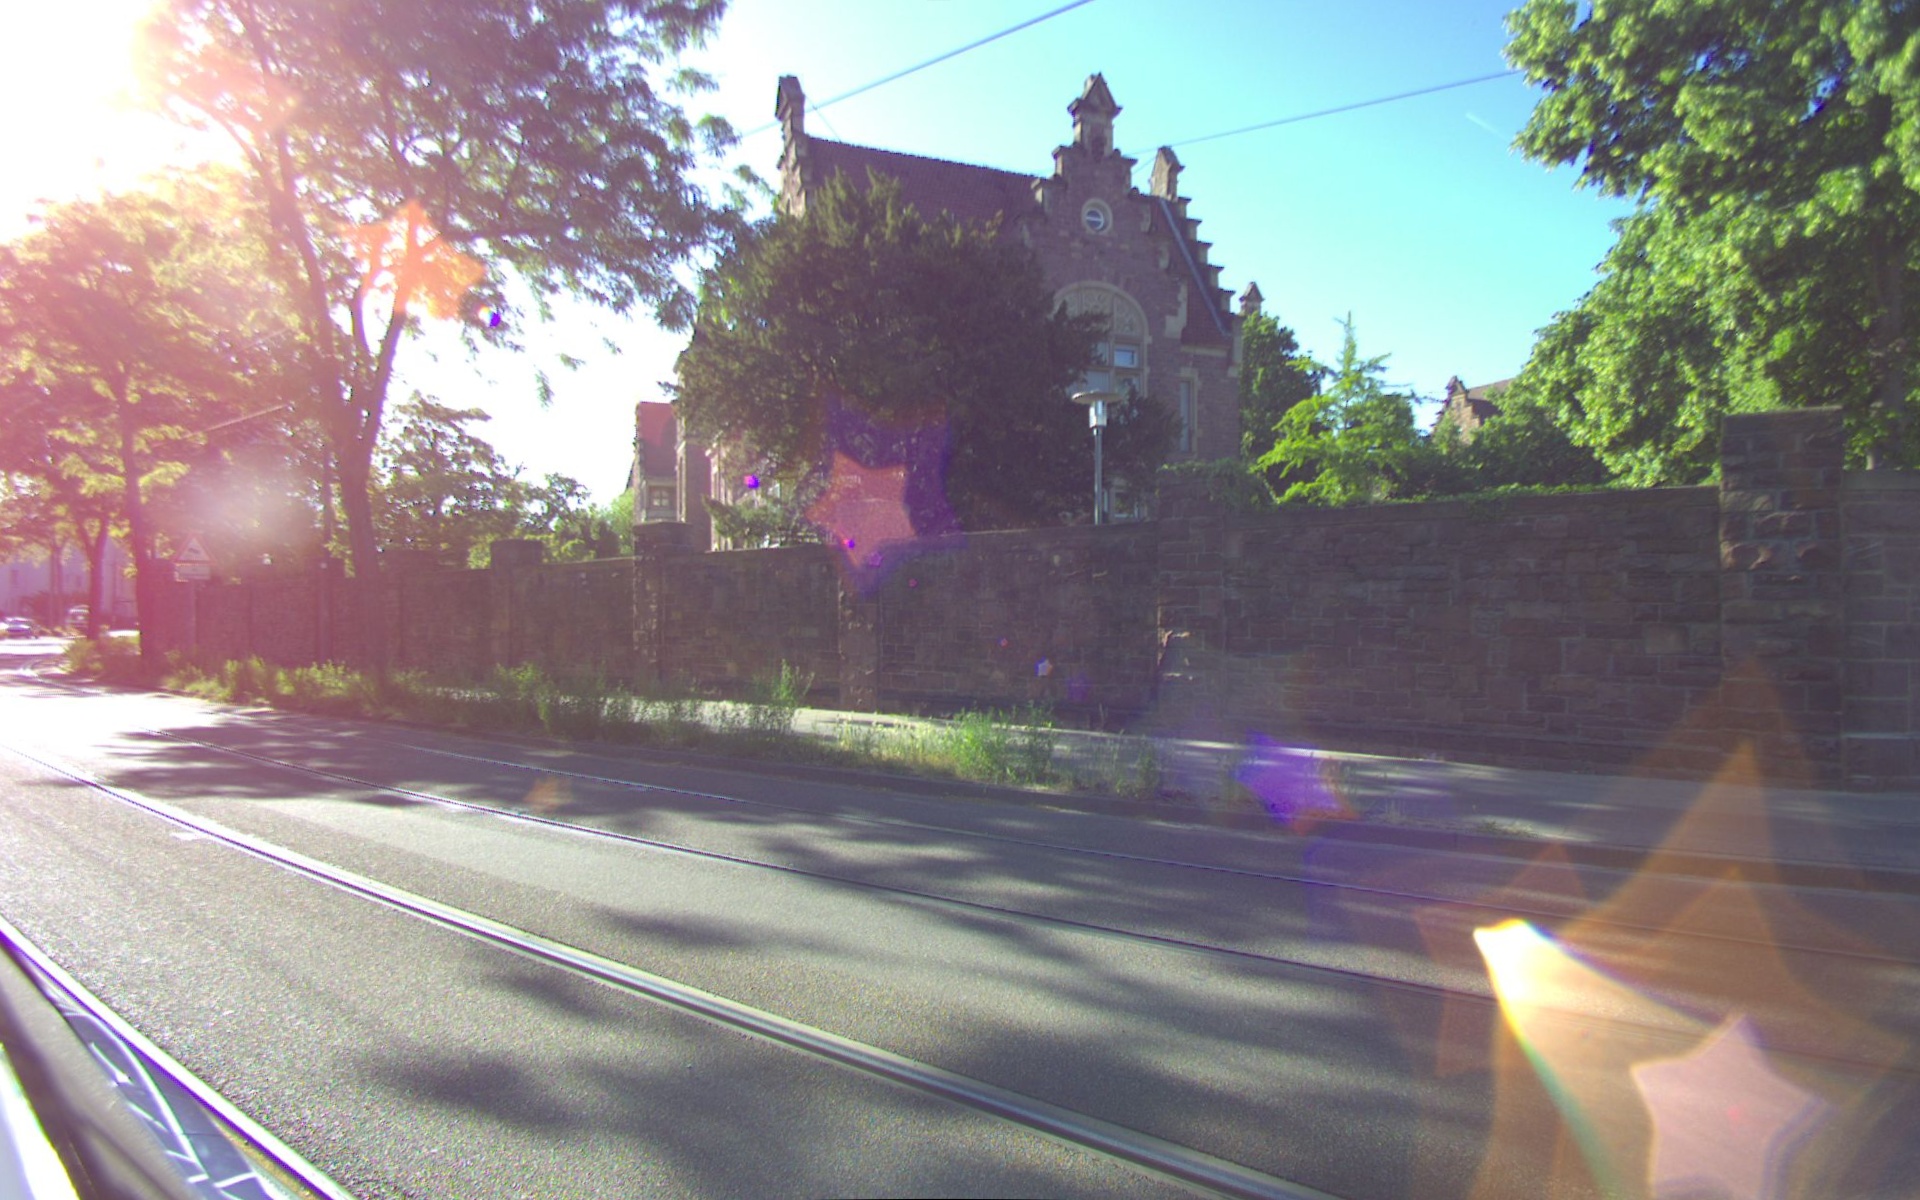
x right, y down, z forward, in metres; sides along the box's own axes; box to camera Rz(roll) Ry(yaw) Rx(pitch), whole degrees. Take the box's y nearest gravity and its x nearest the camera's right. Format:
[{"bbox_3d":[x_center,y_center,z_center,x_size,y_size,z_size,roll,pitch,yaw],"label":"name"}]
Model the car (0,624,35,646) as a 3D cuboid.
[{"bbox_3d":[-68.899,2.527,73.833,1.969,1.560,4.005,0,-1,-41],"label":"car"}]
